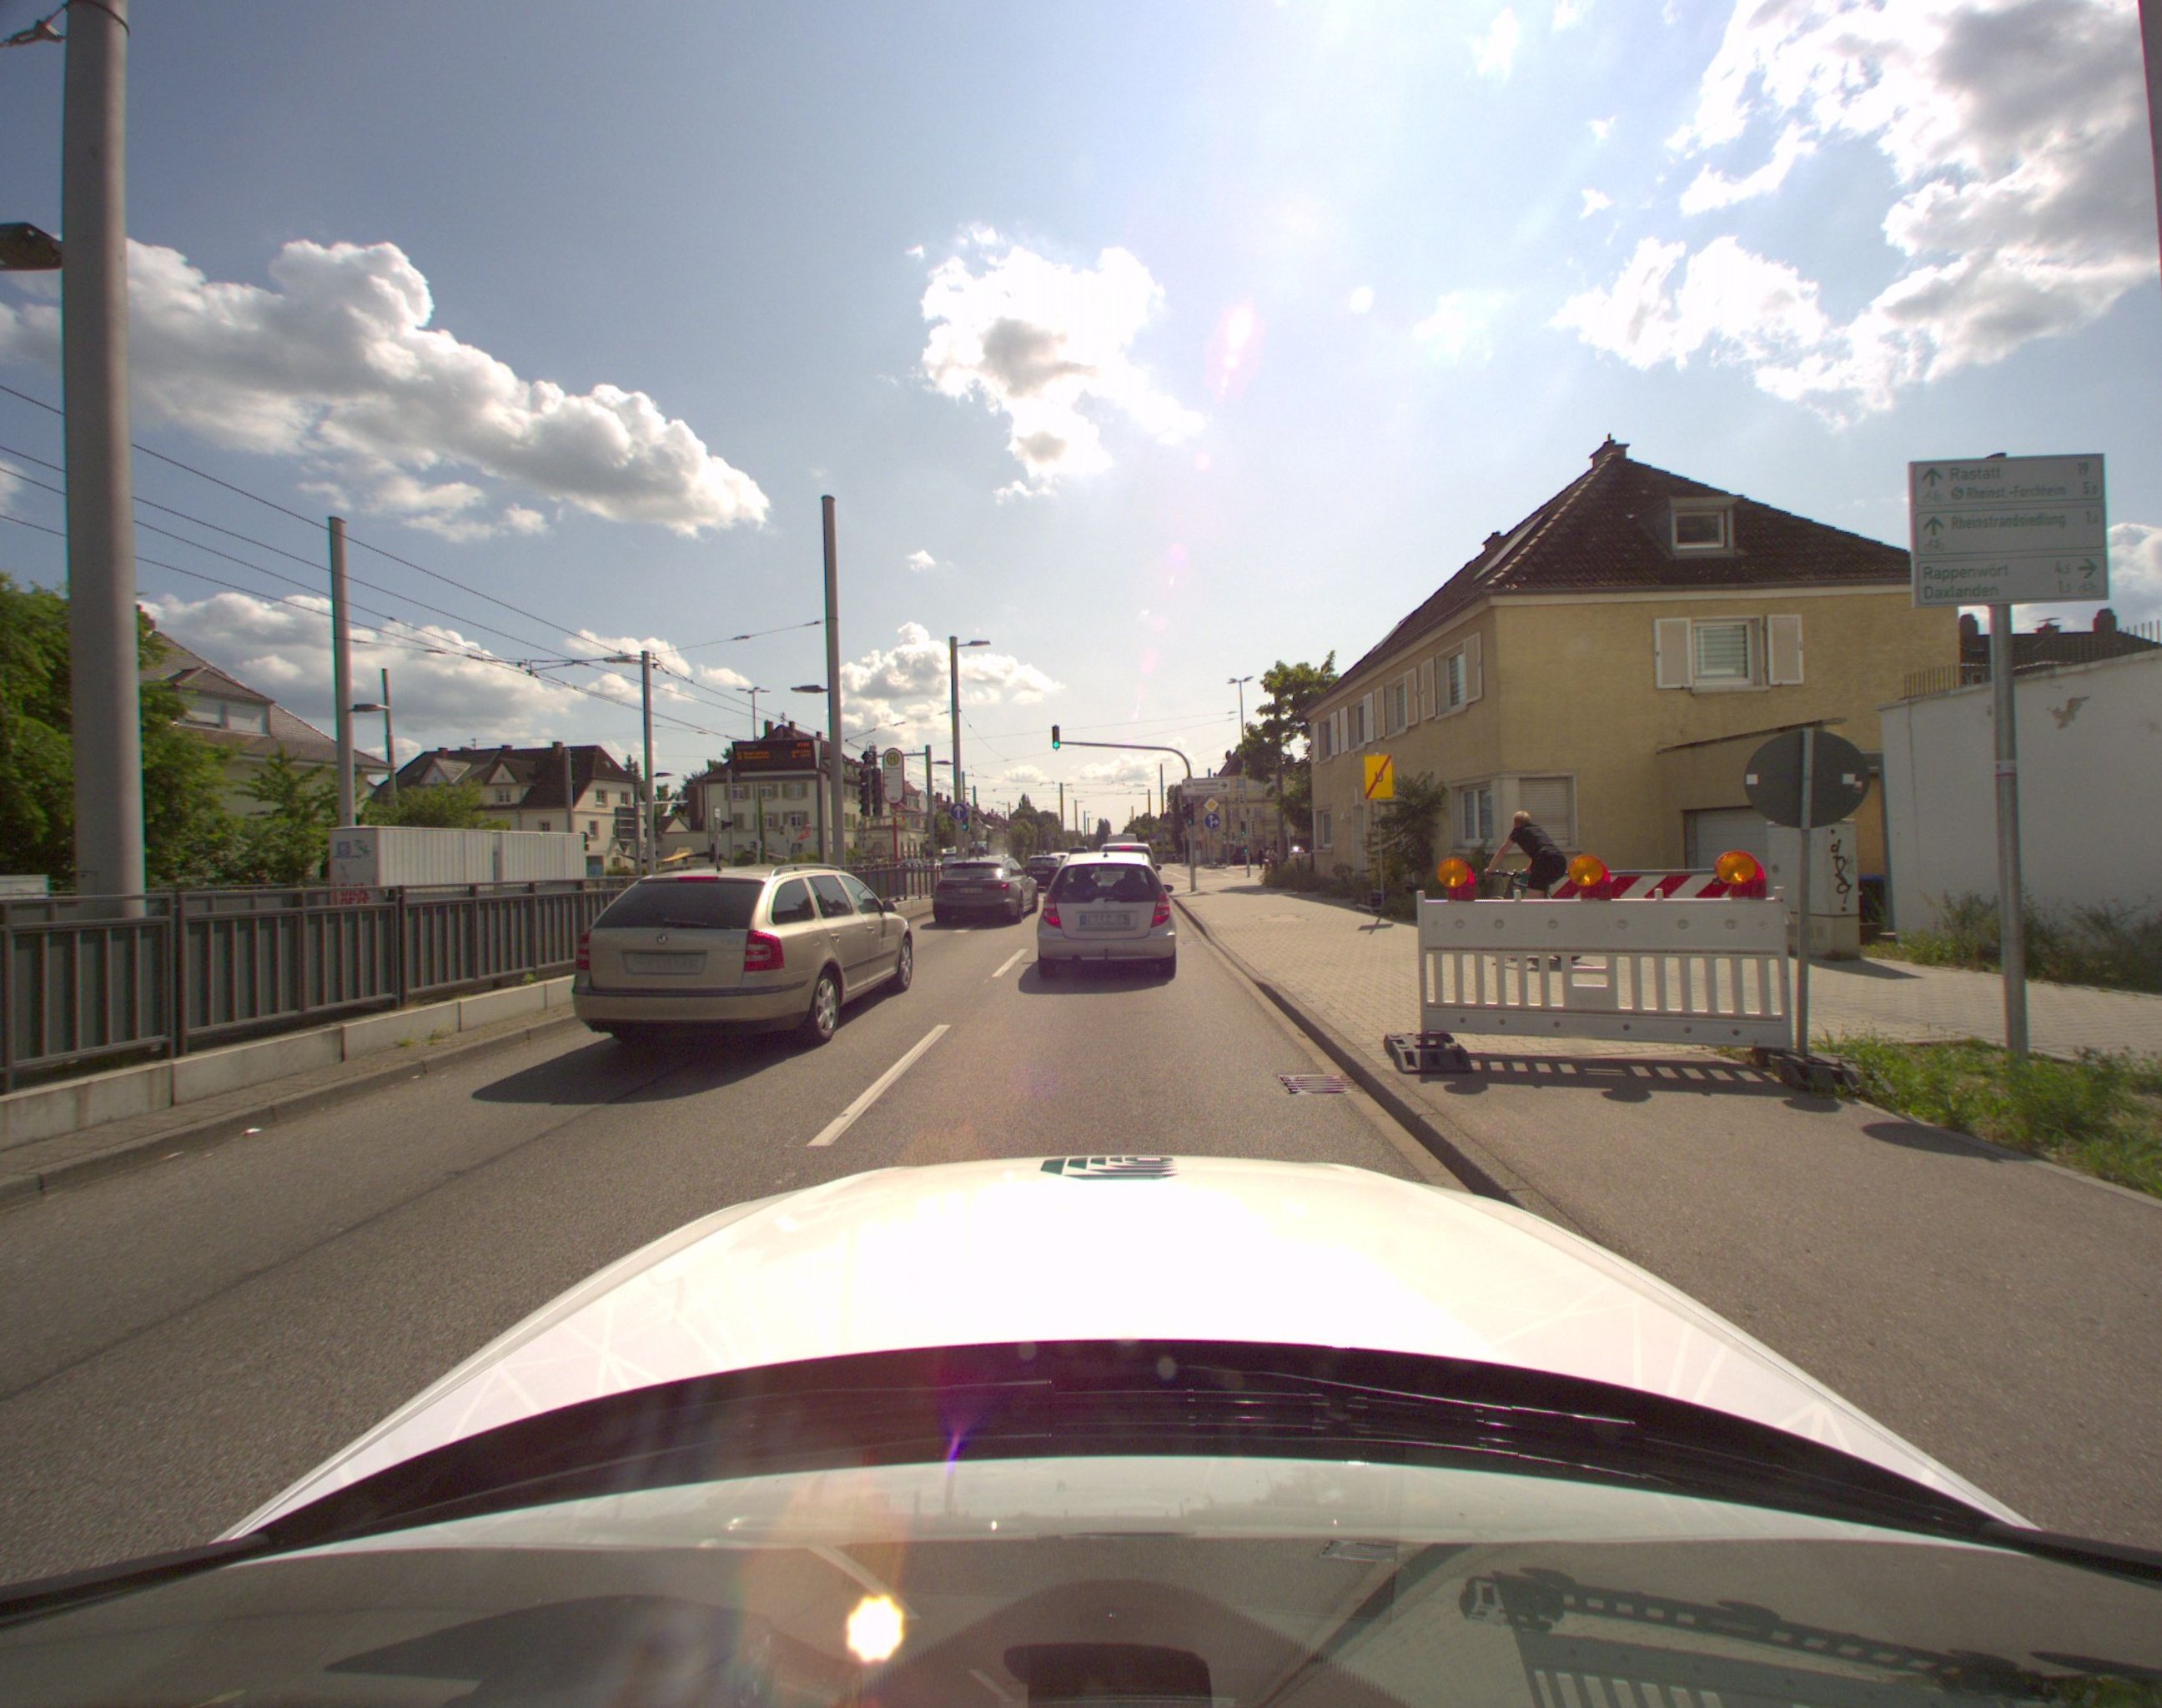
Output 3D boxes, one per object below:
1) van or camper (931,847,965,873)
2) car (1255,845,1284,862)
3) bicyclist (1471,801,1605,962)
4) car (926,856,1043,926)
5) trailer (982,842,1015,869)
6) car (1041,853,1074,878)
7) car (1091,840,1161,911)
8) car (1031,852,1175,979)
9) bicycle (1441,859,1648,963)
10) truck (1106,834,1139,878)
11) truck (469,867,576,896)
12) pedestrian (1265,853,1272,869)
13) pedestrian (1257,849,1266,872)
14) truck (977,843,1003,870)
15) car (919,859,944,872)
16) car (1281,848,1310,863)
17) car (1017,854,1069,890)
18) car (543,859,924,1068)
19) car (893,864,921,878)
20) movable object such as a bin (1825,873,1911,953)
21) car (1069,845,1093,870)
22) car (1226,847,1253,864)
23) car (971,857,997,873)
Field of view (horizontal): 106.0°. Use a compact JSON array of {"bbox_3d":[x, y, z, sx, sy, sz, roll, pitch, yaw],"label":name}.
[{"bbox_3d":[-15.871,0.642,97.879,2.314,2.930,7.761,-2,0,3],"label":"van or camper"},{"bbox_3d":[17.827,-0.021,77.267,1.985,1.596,4.134,0,-1,3],"label":"car"},{"bbox_3d":[5.486,0.307,9.810,0.834,1.793,1.072,-3,0,-34],"label":"bicyclist"},{"bbox_3d":[-2.153,0.796,19.528,1.907,1.477,4.568,0,0,4],"label":"car"},{"bbox_3d":[-12.831,0.155,128.547,2.587,3.821,12.855,-4,0,5],"label":"trailer"},{"bbox_3d":[-1.370,0.680,48.909,1.846,1.388,3.919,0,-1,1],"label":"car"},{"bbox_3d":[1.136,0.550,22.238,1.724,1.762,4.016,0,-1,0],"label":"car"},{"bbox_3d":[0.279,0.755,11.782,1.724,1.517,4.016,0,-1,0],"label":"car"},{"bbox_3d":[5.506,0.644,9.794,0.834,1.075,1.950,-3,0,-35],"label":"bicycle"},{"bbox_3d":[2.517,0.122,50.460,1.846,2.552,5.856,0,-1,1],"label":"truck"},{"bbox_3d":[-37.087,1.823,54.113,6.155,1.922,1.692,0,-1,5],"label":"truck"},{"bbox_3d":[13.466,0.481,58.455,0.485,1.136,0.390,0,-1,8],"label":"pedestrian"},{"bbox_3d":[12.936,0.474,58.361,0.544,1.643,0.402,0,-1,7],"label":"pedestrian"},{"bbox_3d":[-13.507,0.311,121.404,2.586,3.821,5.676,-4,0,5],"label":"truck"},{"bbox_3d":[-16.318,1.263,89.210,1.677,1.351,4.349,0,-1,4],"label":"car"},{"bbox_3d":[20.271,0.130,77.280,1.860,1.351,4.134,0,-1,3],"label":"car"},{"bbox_3d":[-1.485,0.708,33.655,1.846,1.388,4.515,0,-1,1],"label":"car"},{"bbox_3d":[-2.824,0.787,7.740,1.724,1.449,4.125,0,-1,2],"label":"car"},{"bbox_3d":[-17.150,1.688,80.460,1.677,1.351,4.348,0,-1,3],"label":"car"},{"bbox_3d":[11.144,0.819,11.554,0.610,1.087,0.669,0,-1,12],"label":"movable object such as a bin"},{"bbox_3d":[0.027,0.281,63.138,1.846,1.843,3.919,0,-1,1],"label":"car"},{"bbox_3d":[15.011,0.140,77.270,1.985,1.596,4.134,0,-1,3],"label":"car"},{"bbox_3d":[-11.729,1.276,98.962,1.984,1.776,4.885,-3,0,5],"label":"car"}]
